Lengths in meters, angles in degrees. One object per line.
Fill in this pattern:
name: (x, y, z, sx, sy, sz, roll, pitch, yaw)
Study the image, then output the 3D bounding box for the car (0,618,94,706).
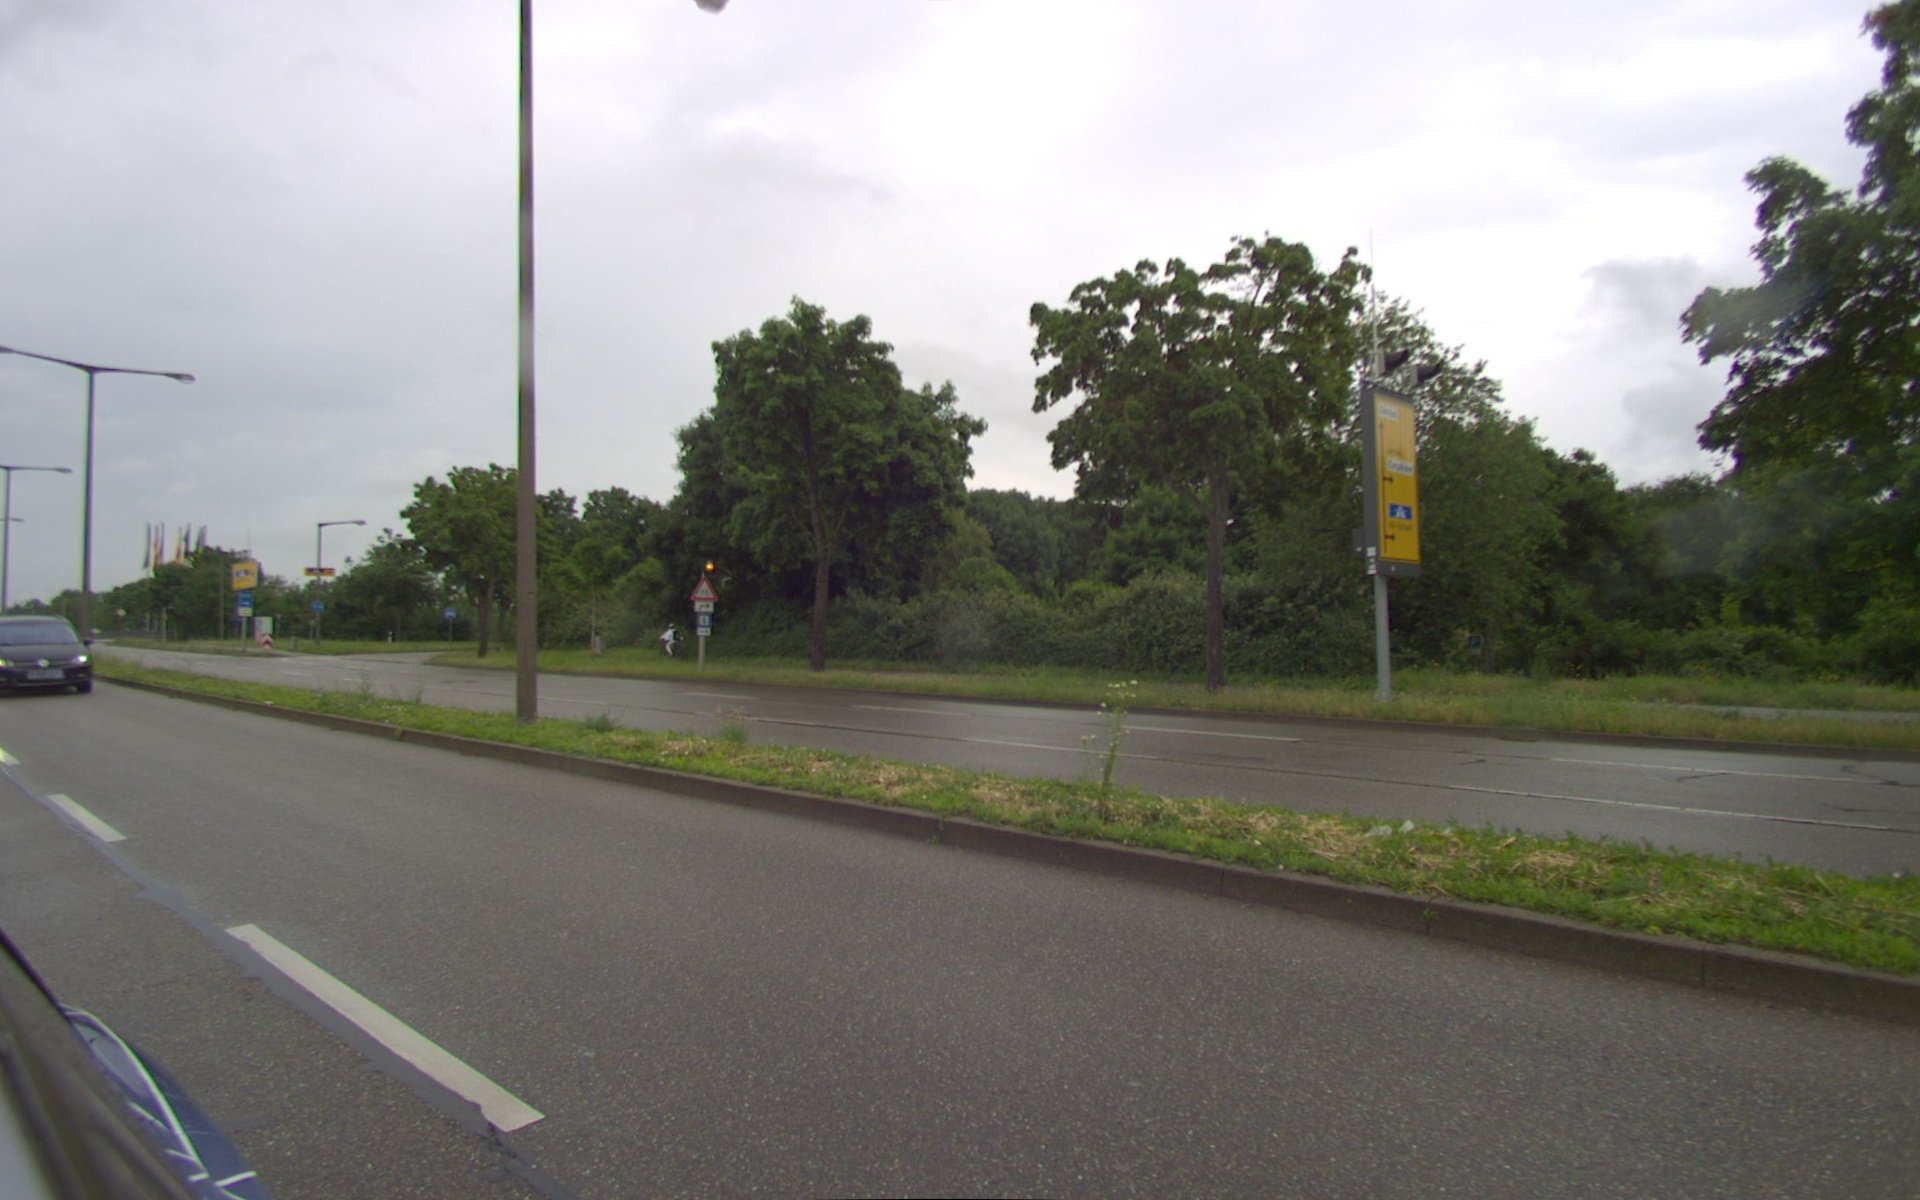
car: (-21.105, 1.323, 22.643, 4.813, 1.764, 1.827, -1, 0, 40)

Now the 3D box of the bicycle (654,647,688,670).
bicycle: (-11.629, 2.333, 40.675, 1.633, 0.892, 0.516, -2, -1, 43)

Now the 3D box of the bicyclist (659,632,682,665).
bicyclist: (-11.632, 1.943, 40.680, 0.808, 1.312, 0.516, -2, -1, 43)
